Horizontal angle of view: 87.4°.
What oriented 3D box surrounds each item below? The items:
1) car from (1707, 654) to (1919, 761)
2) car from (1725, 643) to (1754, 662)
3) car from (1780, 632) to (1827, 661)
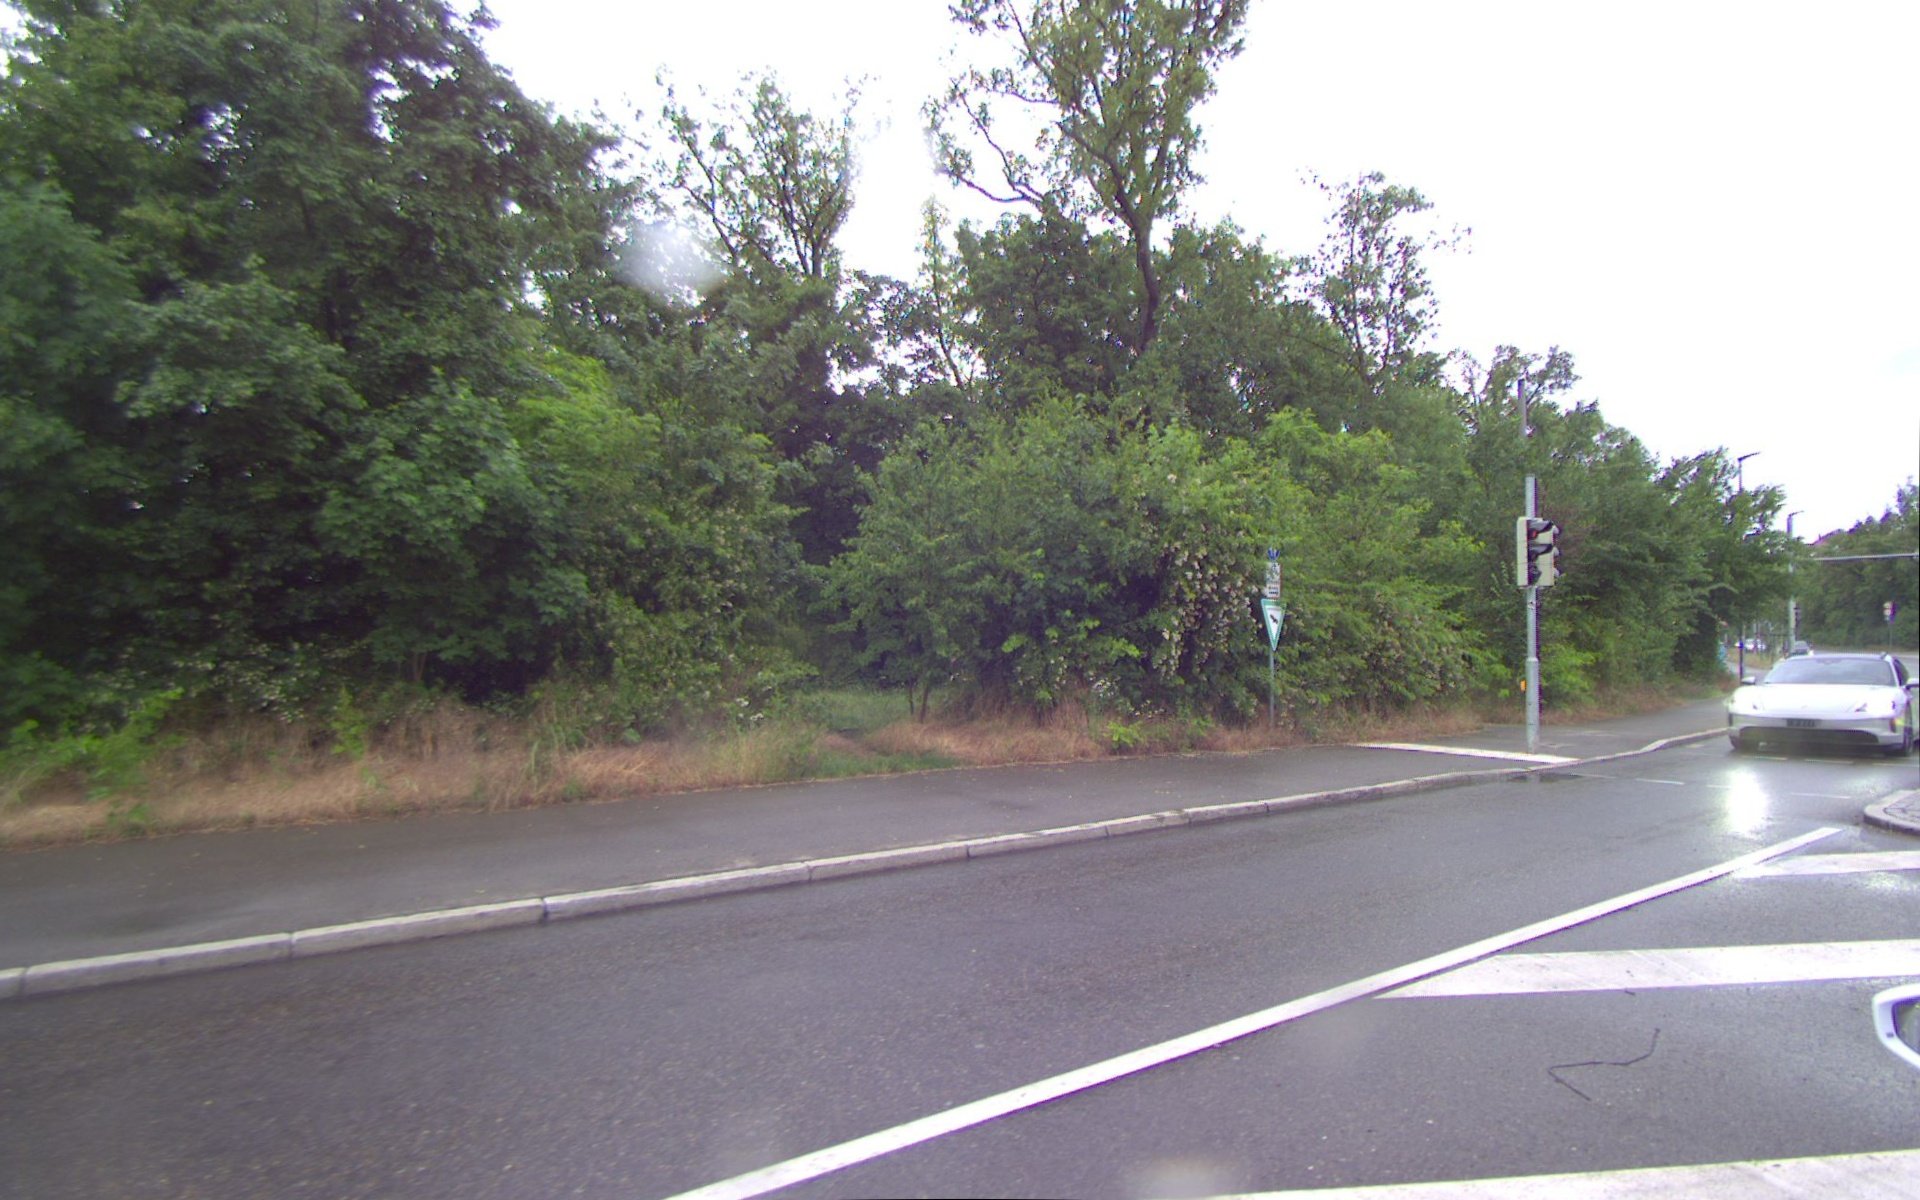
[{"bbox_3d":[13.017,1.506,15.050,4.324,1.328,1.977,2,-5,-40],"label":"car"},{"bbox_3d":[73.295,4.940,94.378,1.970,1.606,3.981,1,-2,40],"label":"car"},{"bbox_3d":[62.051,3.410,73.948,1.964,2.040,3.993,1,-2,30],"label":"car"}]
